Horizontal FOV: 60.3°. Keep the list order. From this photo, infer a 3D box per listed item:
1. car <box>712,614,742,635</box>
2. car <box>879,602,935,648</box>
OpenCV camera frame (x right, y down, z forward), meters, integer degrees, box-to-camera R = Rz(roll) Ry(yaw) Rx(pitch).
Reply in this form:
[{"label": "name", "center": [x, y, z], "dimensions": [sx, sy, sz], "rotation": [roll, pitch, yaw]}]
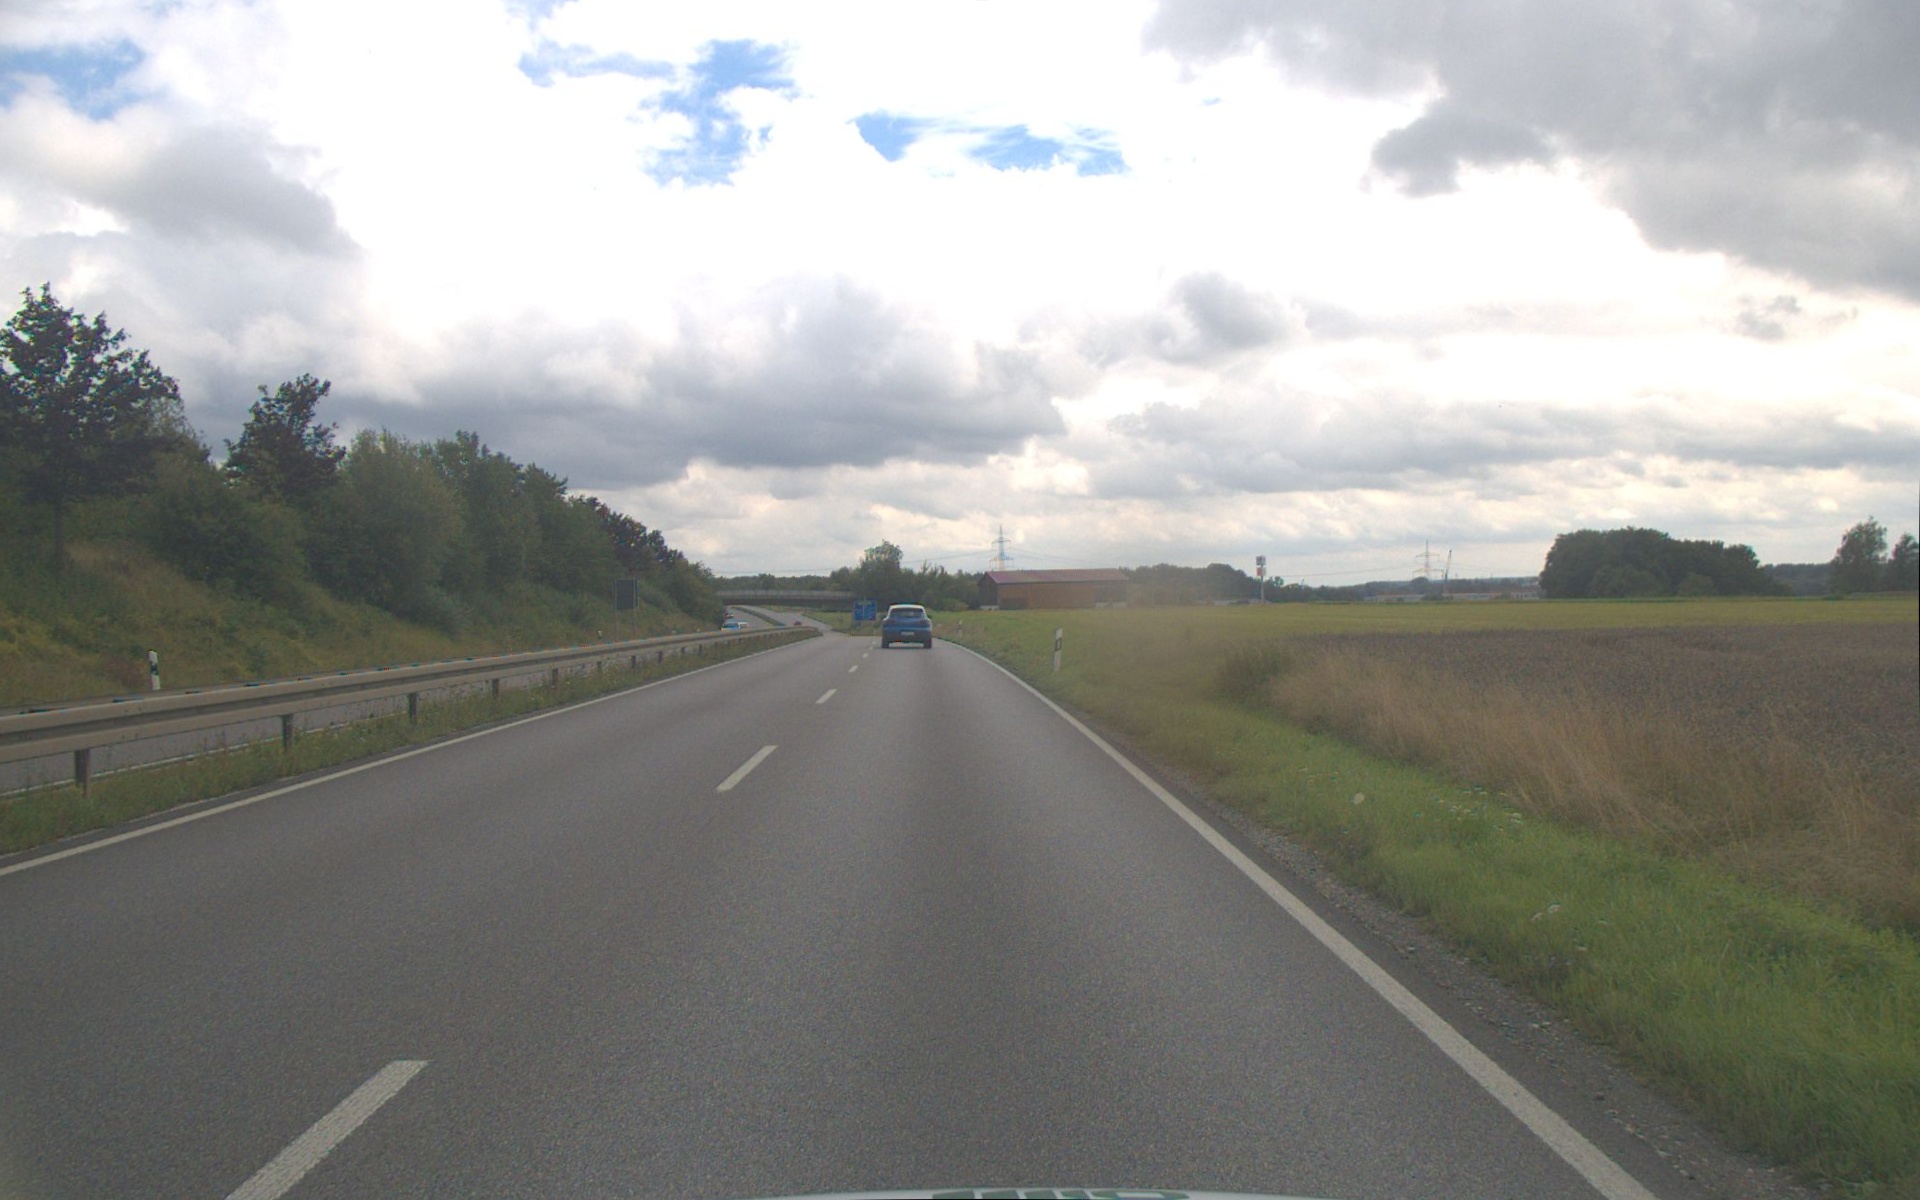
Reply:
[{"label": "car", "center": [-19.050, 1.992, 135.253], "dimensions": [1.954, 1.544, 4.986], "rotation": [-1, 1, -3]}, {"label": "car", "center": [-1.989, 0.927, 63.468], "dimensions": [1.991, 1.689, 4.543], "rotation": [0, 0, 0]}]
